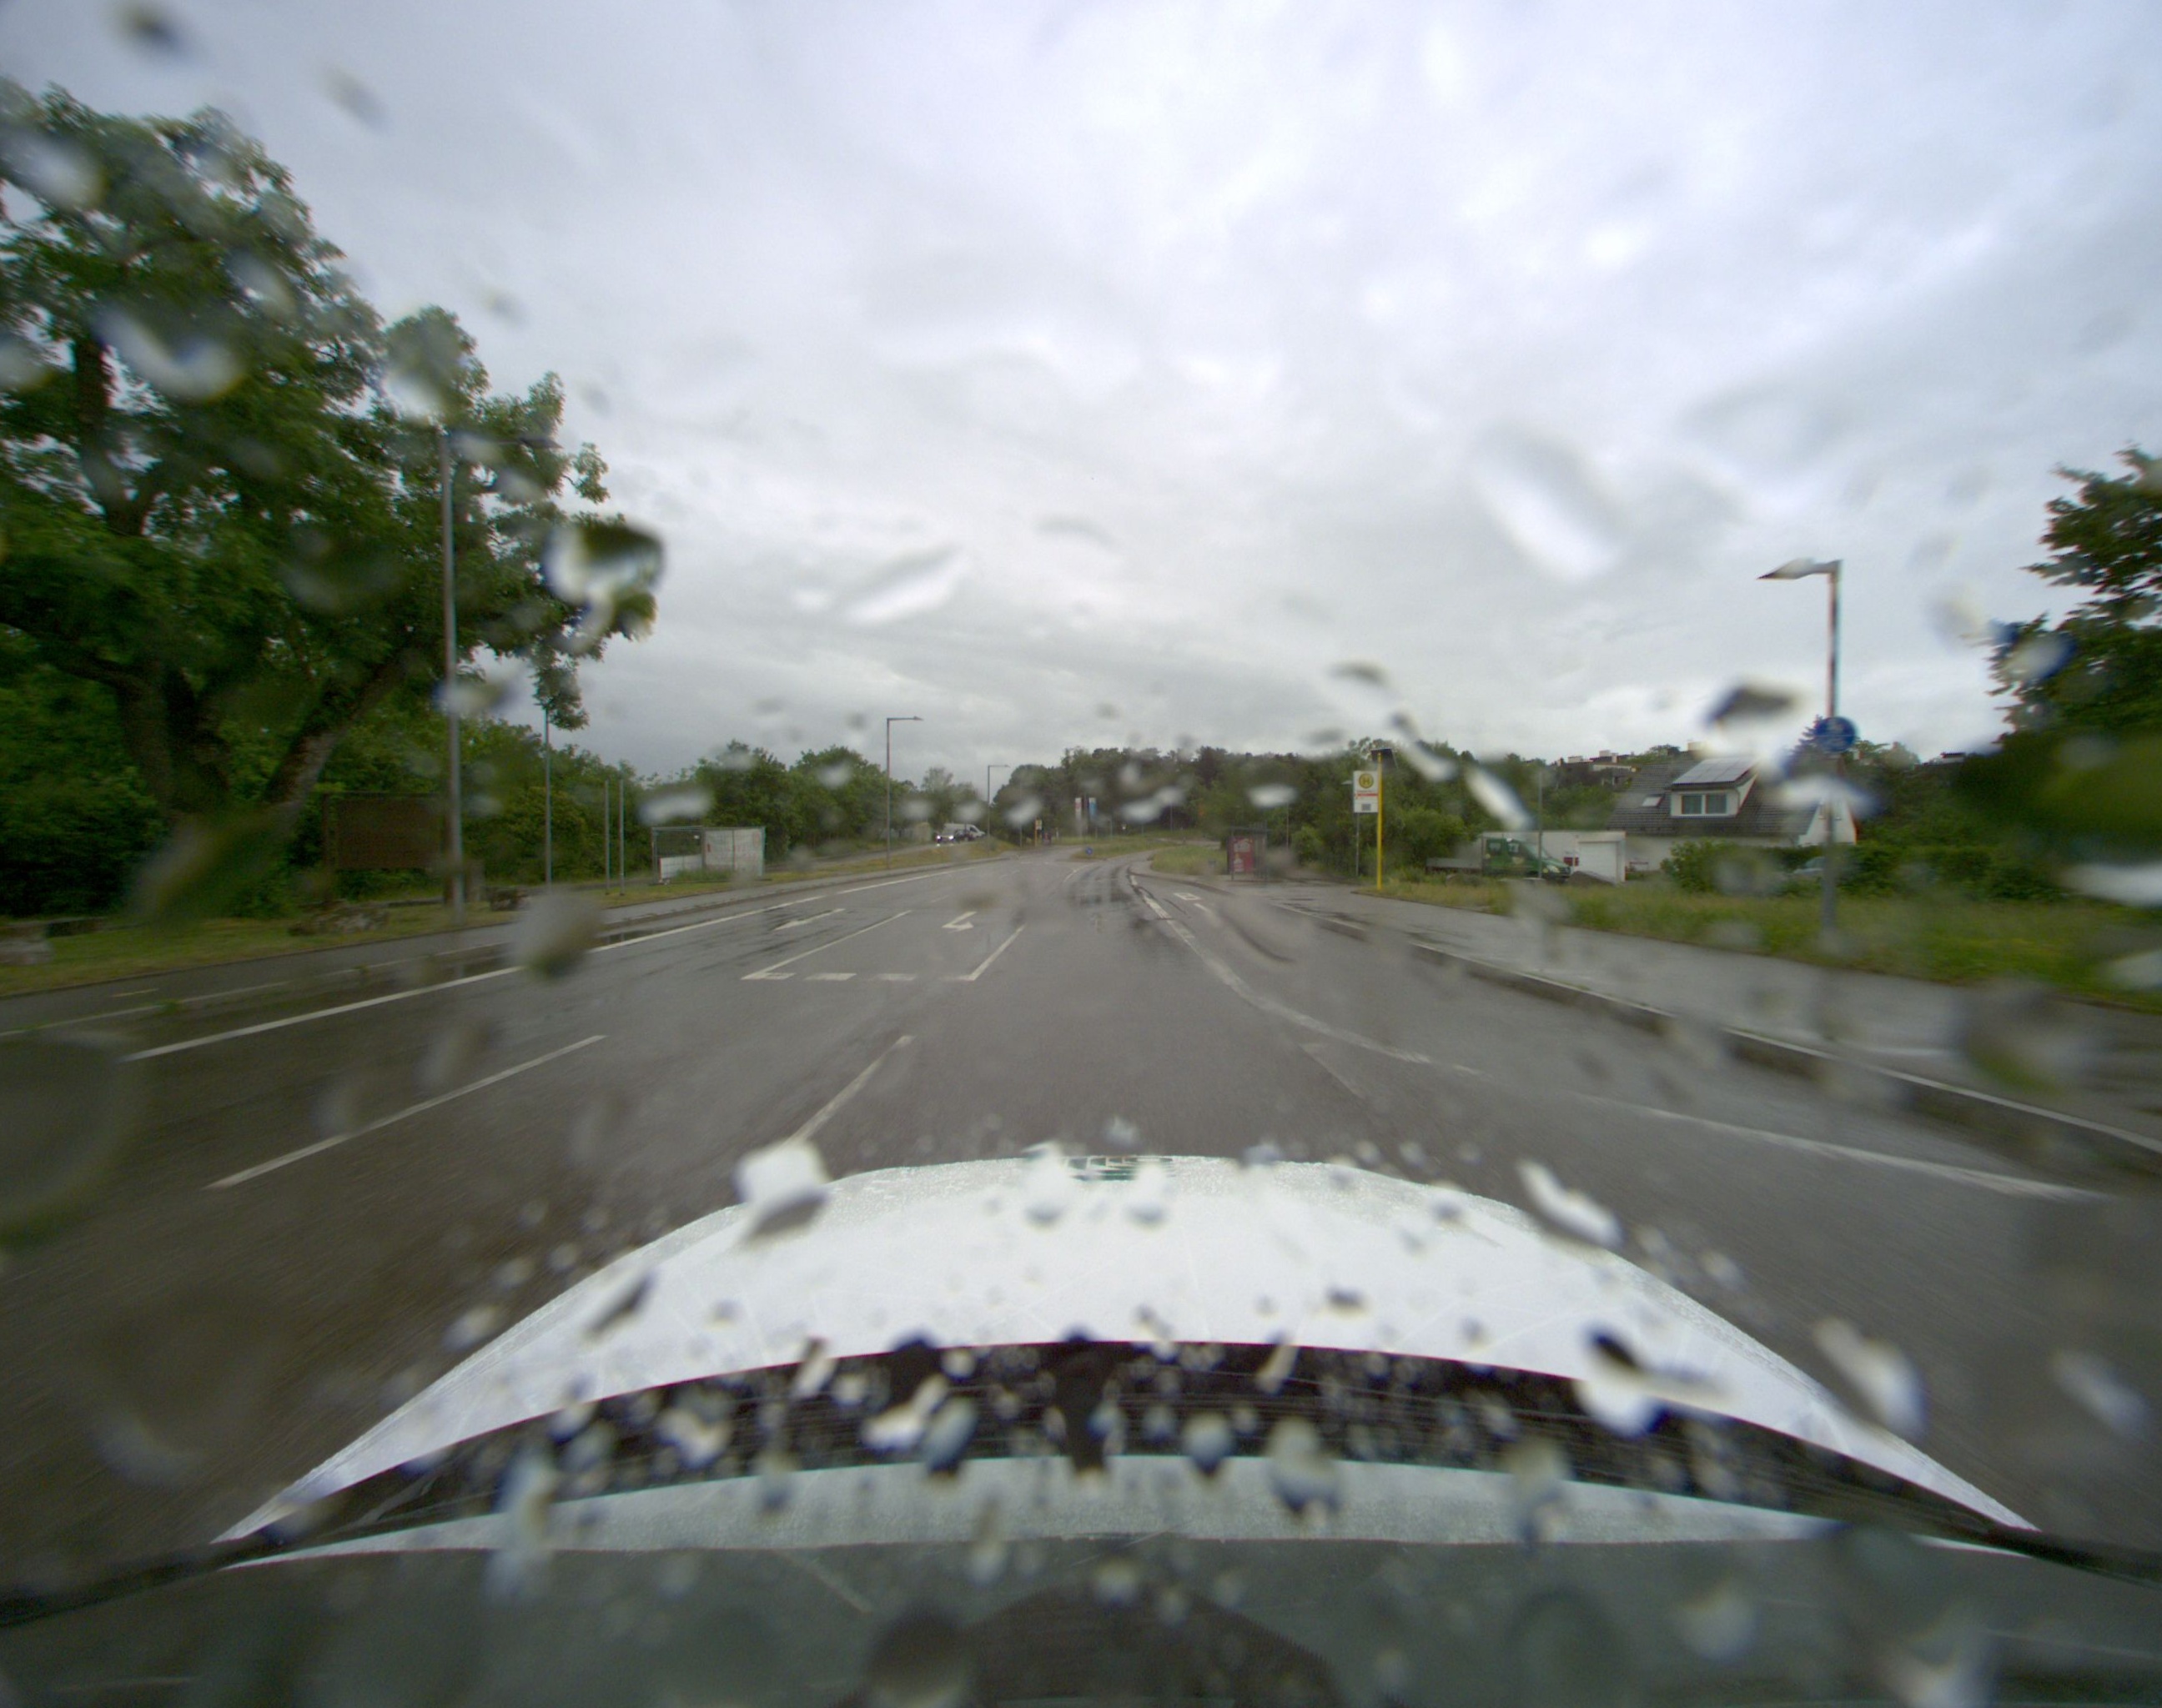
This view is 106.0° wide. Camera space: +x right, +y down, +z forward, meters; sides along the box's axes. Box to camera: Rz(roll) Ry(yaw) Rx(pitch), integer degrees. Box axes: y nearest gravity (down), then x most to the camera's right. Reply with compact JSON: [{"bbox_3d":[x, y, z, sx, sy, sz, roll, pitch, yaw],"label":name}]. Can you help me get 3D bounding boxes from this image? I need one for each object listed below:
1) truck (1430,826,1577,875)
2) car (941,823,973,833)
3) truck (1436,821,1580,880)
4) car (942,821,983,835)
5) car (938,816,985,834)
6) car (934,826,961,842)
[{"bbox_3d":[19.463,-0.205,37.806,2.009,2.109,5.784,0,1,-37],"label":"truck"},{"bbox_3d":[-17.161,-3.670,112.683,3.964,1.363,1.852,0,2,8],"label":"car"},{"bbox_3d":[19.611,-0.104,37.699,2.009,2.526,5.572,0,-1,-37],"label":"truck"},{"bbox_3d":[-14.643,-3.244,100.878,4.682,1.693,2.009,-1,2,6],"label":"car"},{"bbox_3d":[-17.582,-4.294,120.447,6.529,2.397,2.140,1,1,2],"label":"car"},{"bbox_3d":[-14.482,-2.186,88.575,1.683,1.567,4.550,3,3,5],"label":"car"}]
